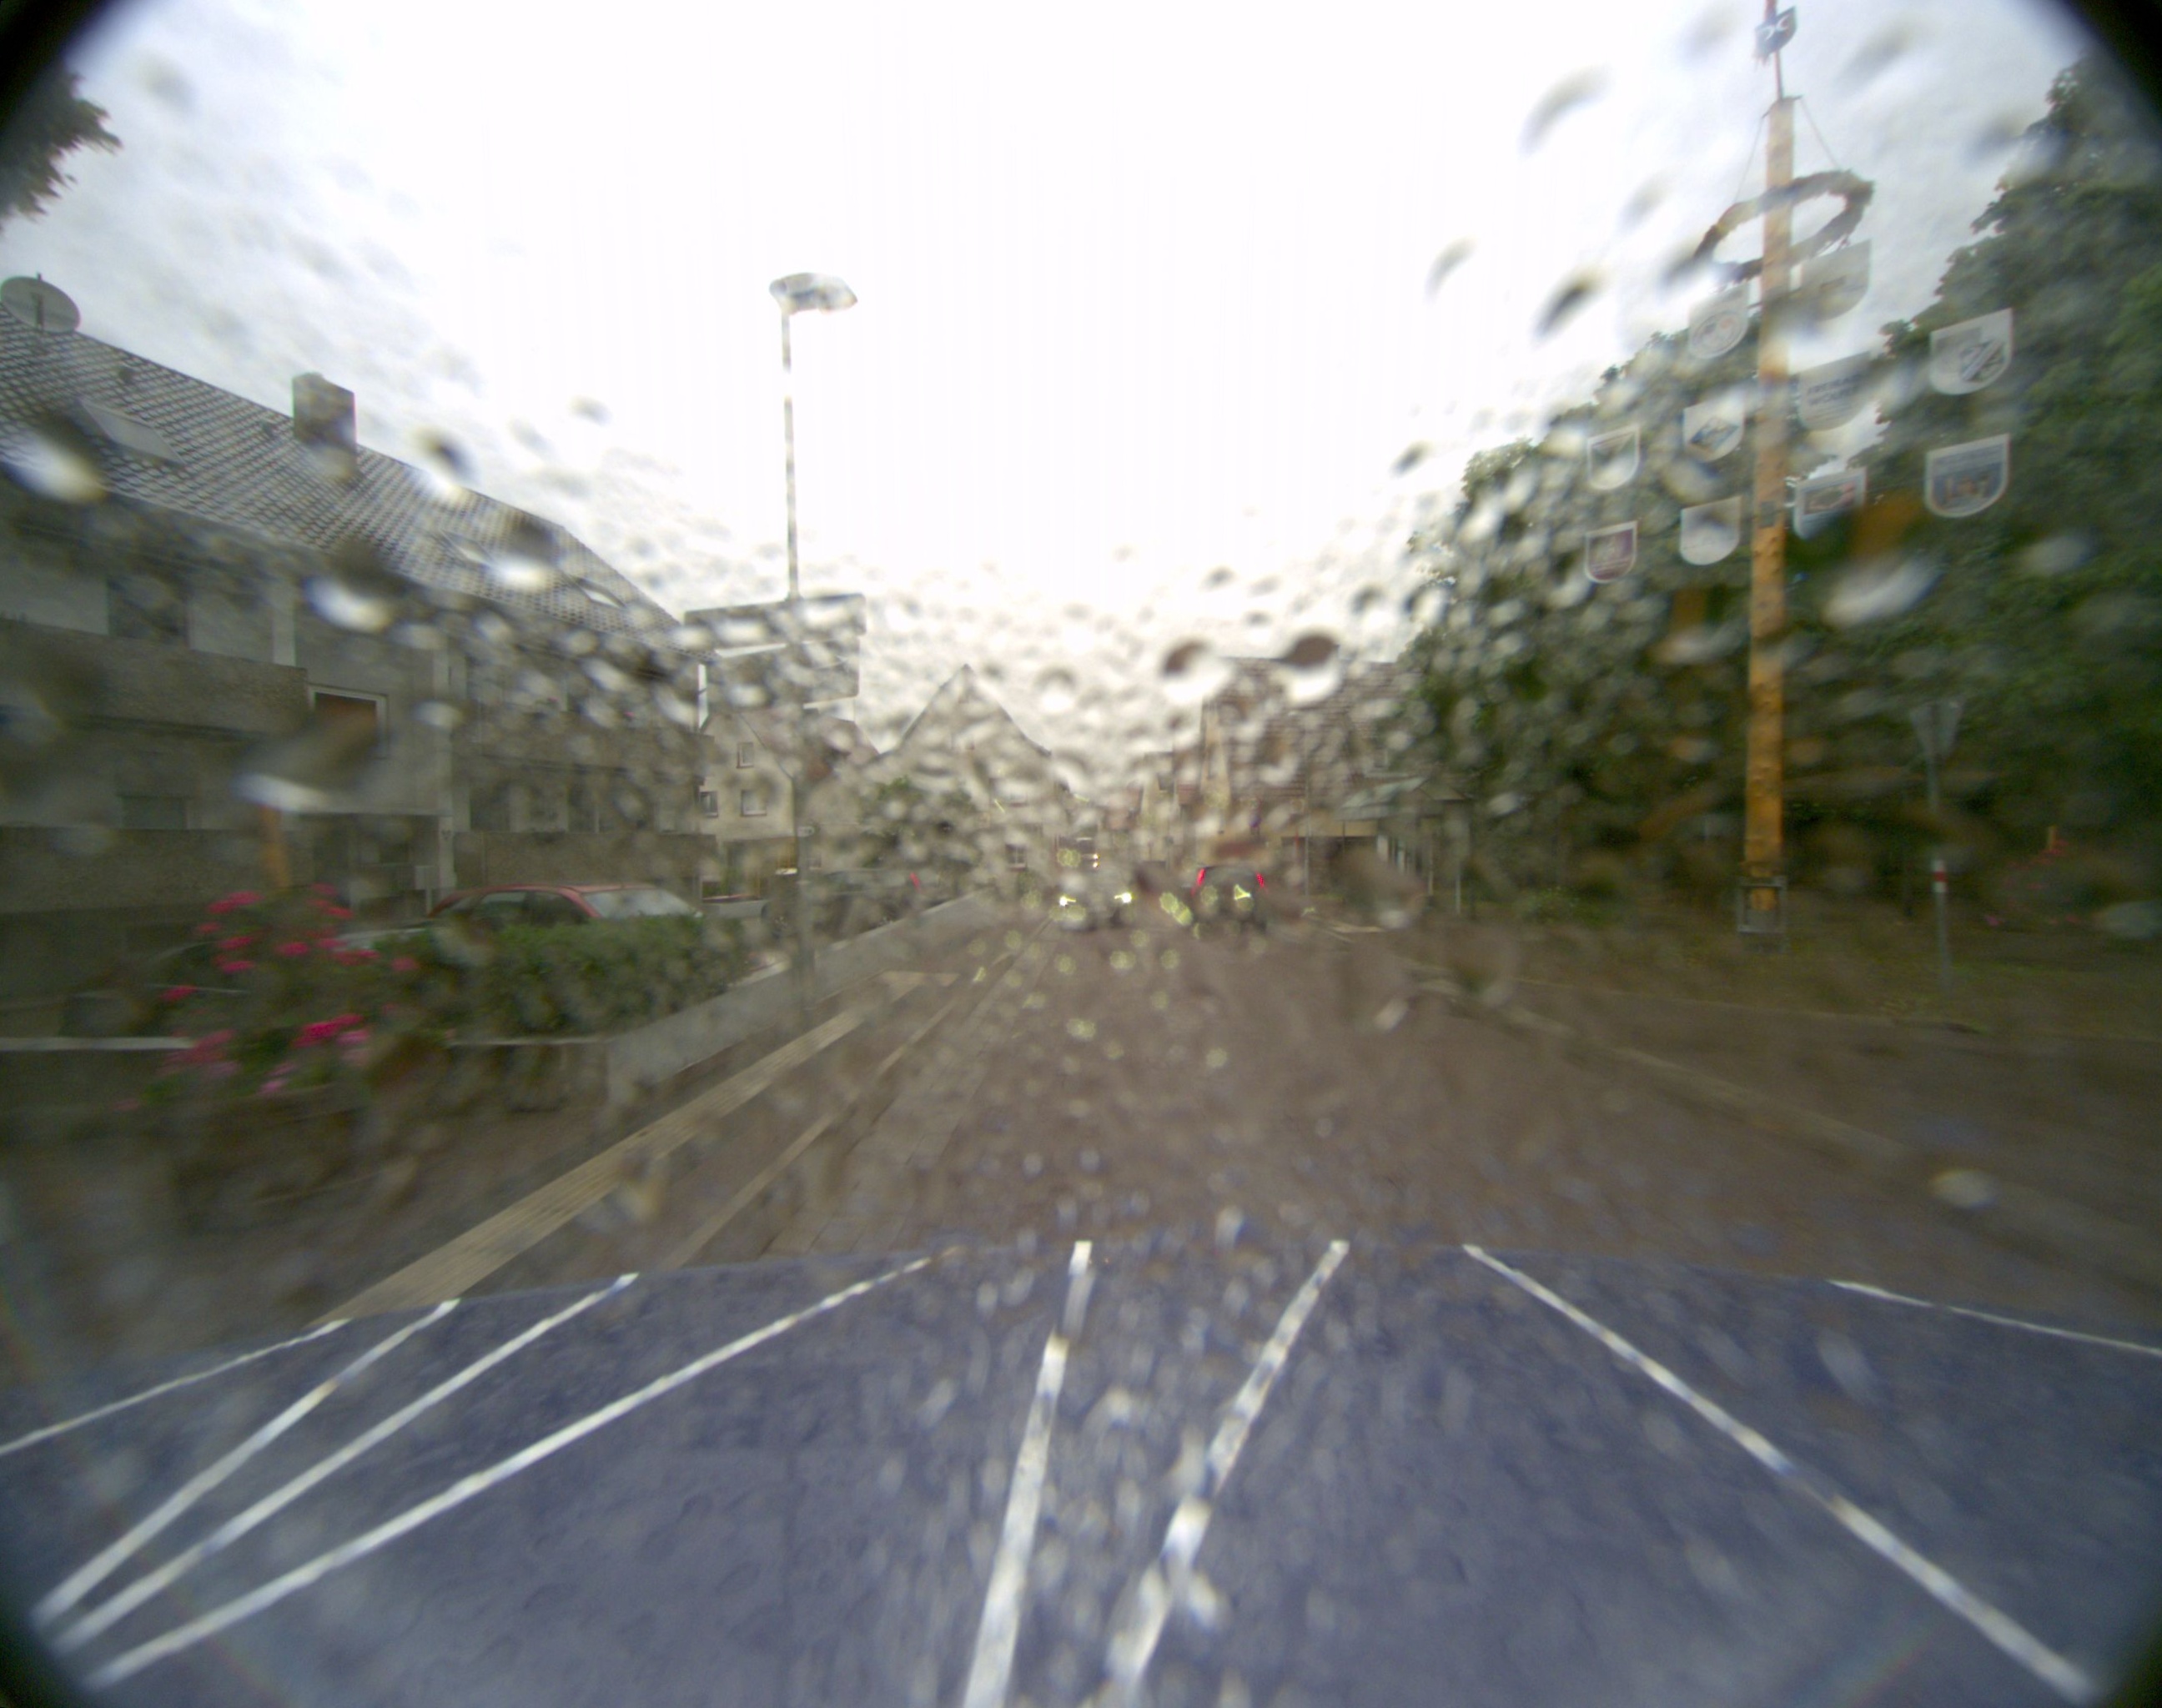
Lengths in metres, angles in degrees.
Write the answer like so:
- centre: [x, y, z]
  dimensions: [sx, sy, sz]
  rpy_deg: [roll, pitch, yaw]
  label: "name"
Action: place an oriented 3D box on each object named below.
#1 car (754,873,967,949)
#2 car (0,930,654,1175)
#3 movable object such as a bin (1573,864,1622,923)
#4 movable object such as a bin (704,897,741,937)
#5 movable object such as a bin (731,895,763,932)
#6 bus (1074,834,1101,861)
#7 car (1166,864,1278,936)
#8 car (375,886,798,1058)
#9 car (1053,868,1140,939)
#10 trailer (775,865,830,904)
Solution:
- centre: [-4.831, 1.206, 16.763]
  dimensions: [4.233, 1.472, 1.697]
  rpy_deg: [-1, 0, 17]
  label: "car"
- centre: [-5.807, 1.385, 6.038]
  dimensions: [3.958, 1.370, 1.753]
  rpy_deg: [-1, 0, 10]
  label: "car"
- centre: [10.464, 0.789, 15.404]
  dimensions: [0.563, 1.140, 0.604]
  rpy_deg: [-1, 2, -1]
  label: "movable object such as a bin"
- centre: [-10.476, 1.840, 22.204]
  dimensions: [0.624, 1.111, 0.692]
  rpy_deg: [-2, 1, 24]
  label: "movable object such as a bin"
- centre: [-10.020, 1.782, 22.791]
  dimensions: [0.624, 1.060, 0.571]
  rpy_deg: [-2, 1, 28]
  label: "movable object such as a bin"
- centre: [0.886, -1.026, 109.949]
  dimensions: [2.893, 3.590, 11.971]
  rpy_deg: [-1, 2, -4]
  label: "bus"
- centre: [3.150, 0.980, 17.873]
  dimensions: [1.848, 1.468, 4.314]
  rpy_deg: [0, -1, 0]
  label: "car"
- centre: [-5.642, 1.219, 8.816]
  dimensions: [4.073, 1.580, 1.859]
  rpy_deg: [-1, 0, 16]
  label: "car"
- centre: [0.421, 1.090, 17.976]
  dimensions: [1.800, 1.341, 3.738]
  rpy_deg: [-3, 0, 3]
  label: "car"
- centre: [-13.217, 1.413, 36.232]
  dimensions: [1.572, 1.731, 2.610]
  rpy_deg: [-2, 0, 1]
  label: "trailer"
